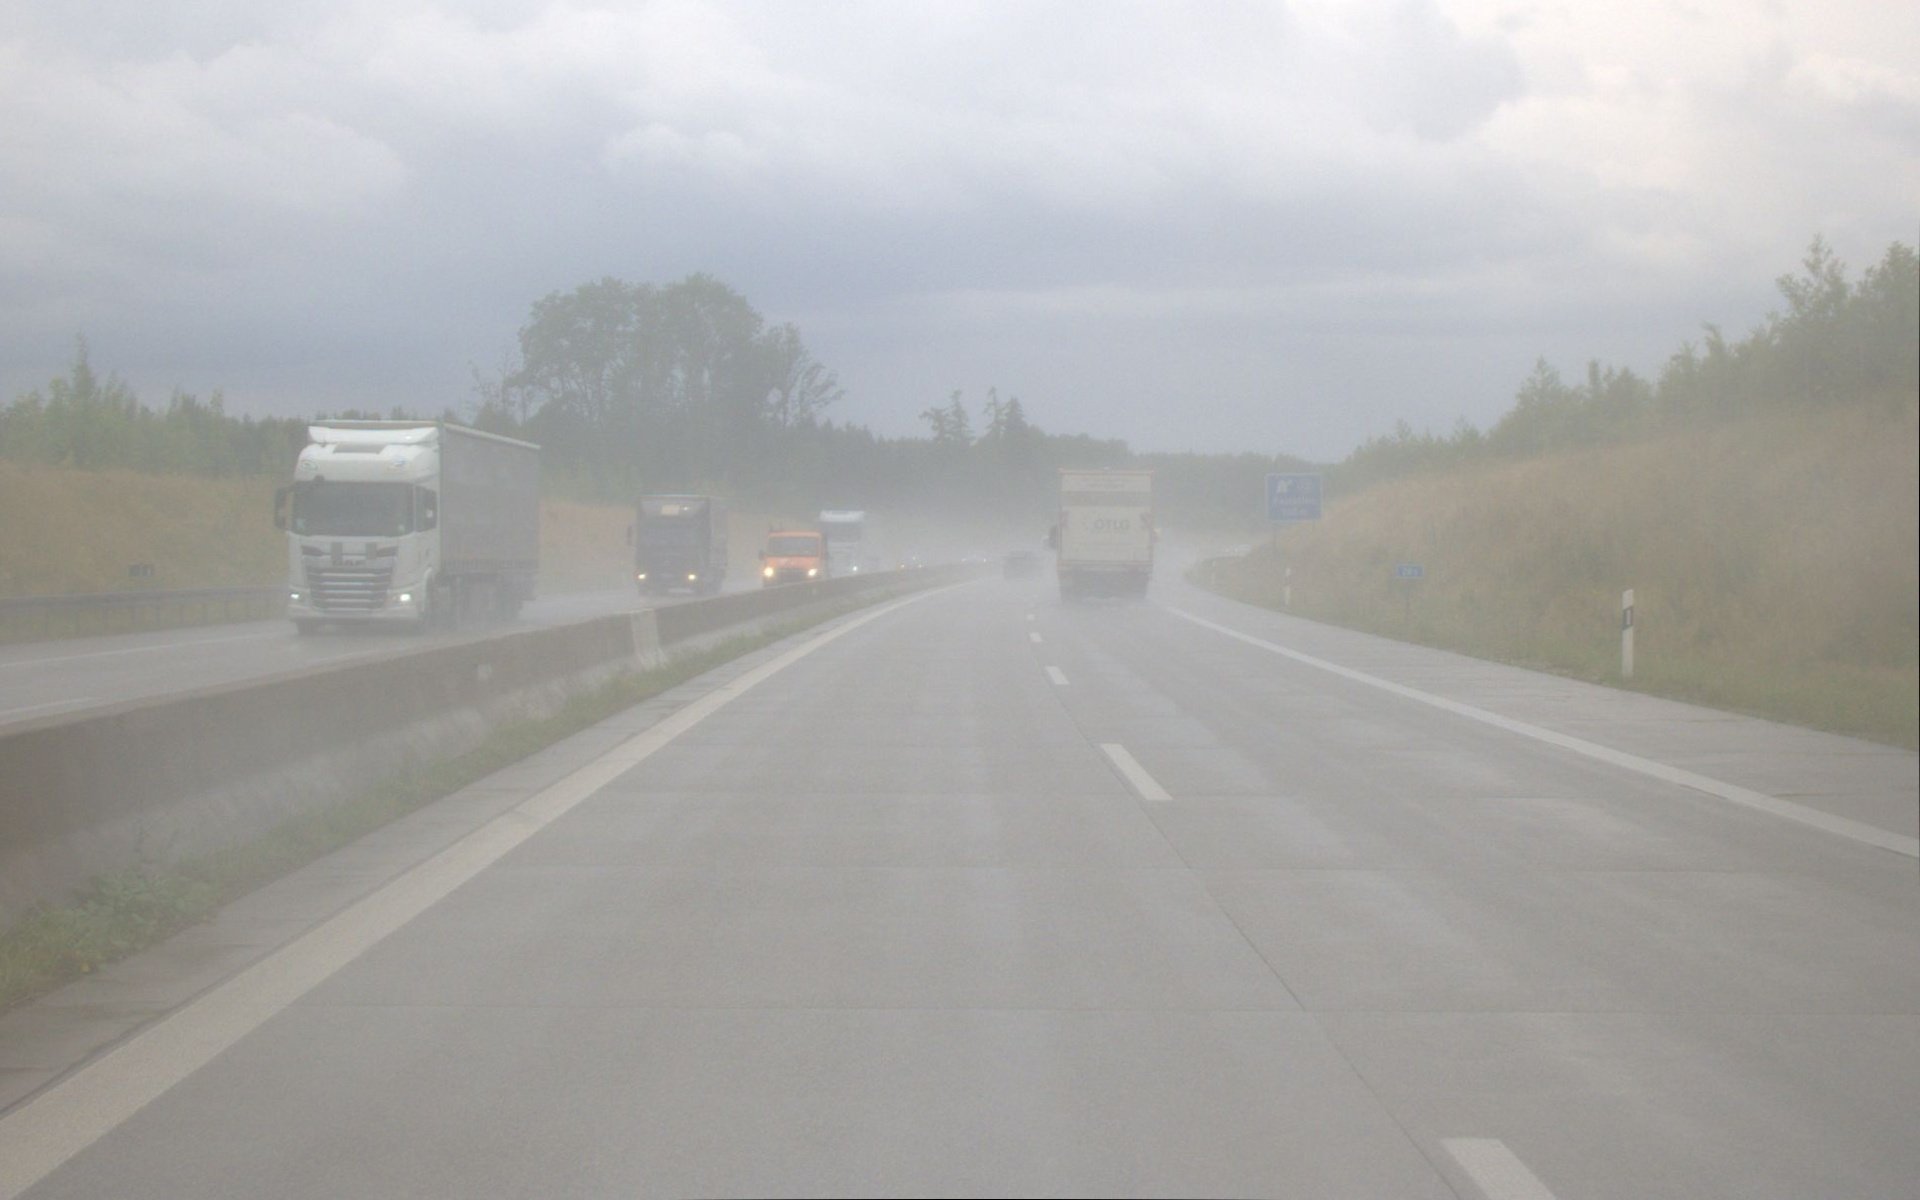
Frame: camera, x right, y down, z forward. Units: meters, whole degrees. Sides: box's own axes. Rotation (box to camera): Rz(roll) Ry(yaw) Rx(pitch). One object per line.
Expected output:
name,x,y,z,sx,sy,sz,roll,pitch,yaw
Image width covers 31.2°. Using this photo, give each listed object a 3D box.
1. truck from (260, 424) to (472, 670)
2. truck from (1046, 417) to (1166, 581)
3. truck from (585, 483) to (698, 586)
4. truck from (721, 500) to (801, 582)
truck,-11.417,-1.026,66.658,2.821,4.505,6.625,1,1,1
truck,4.165,-2.870,97.252,3.244,4.421,8.246,0,2,3
truck,-11.298,-2.322,122.720,3.168,3.521,8.365,0,1,1
truck,-6.895,-2.051,119.660,2.332,2.772,6.161,0,1,1
